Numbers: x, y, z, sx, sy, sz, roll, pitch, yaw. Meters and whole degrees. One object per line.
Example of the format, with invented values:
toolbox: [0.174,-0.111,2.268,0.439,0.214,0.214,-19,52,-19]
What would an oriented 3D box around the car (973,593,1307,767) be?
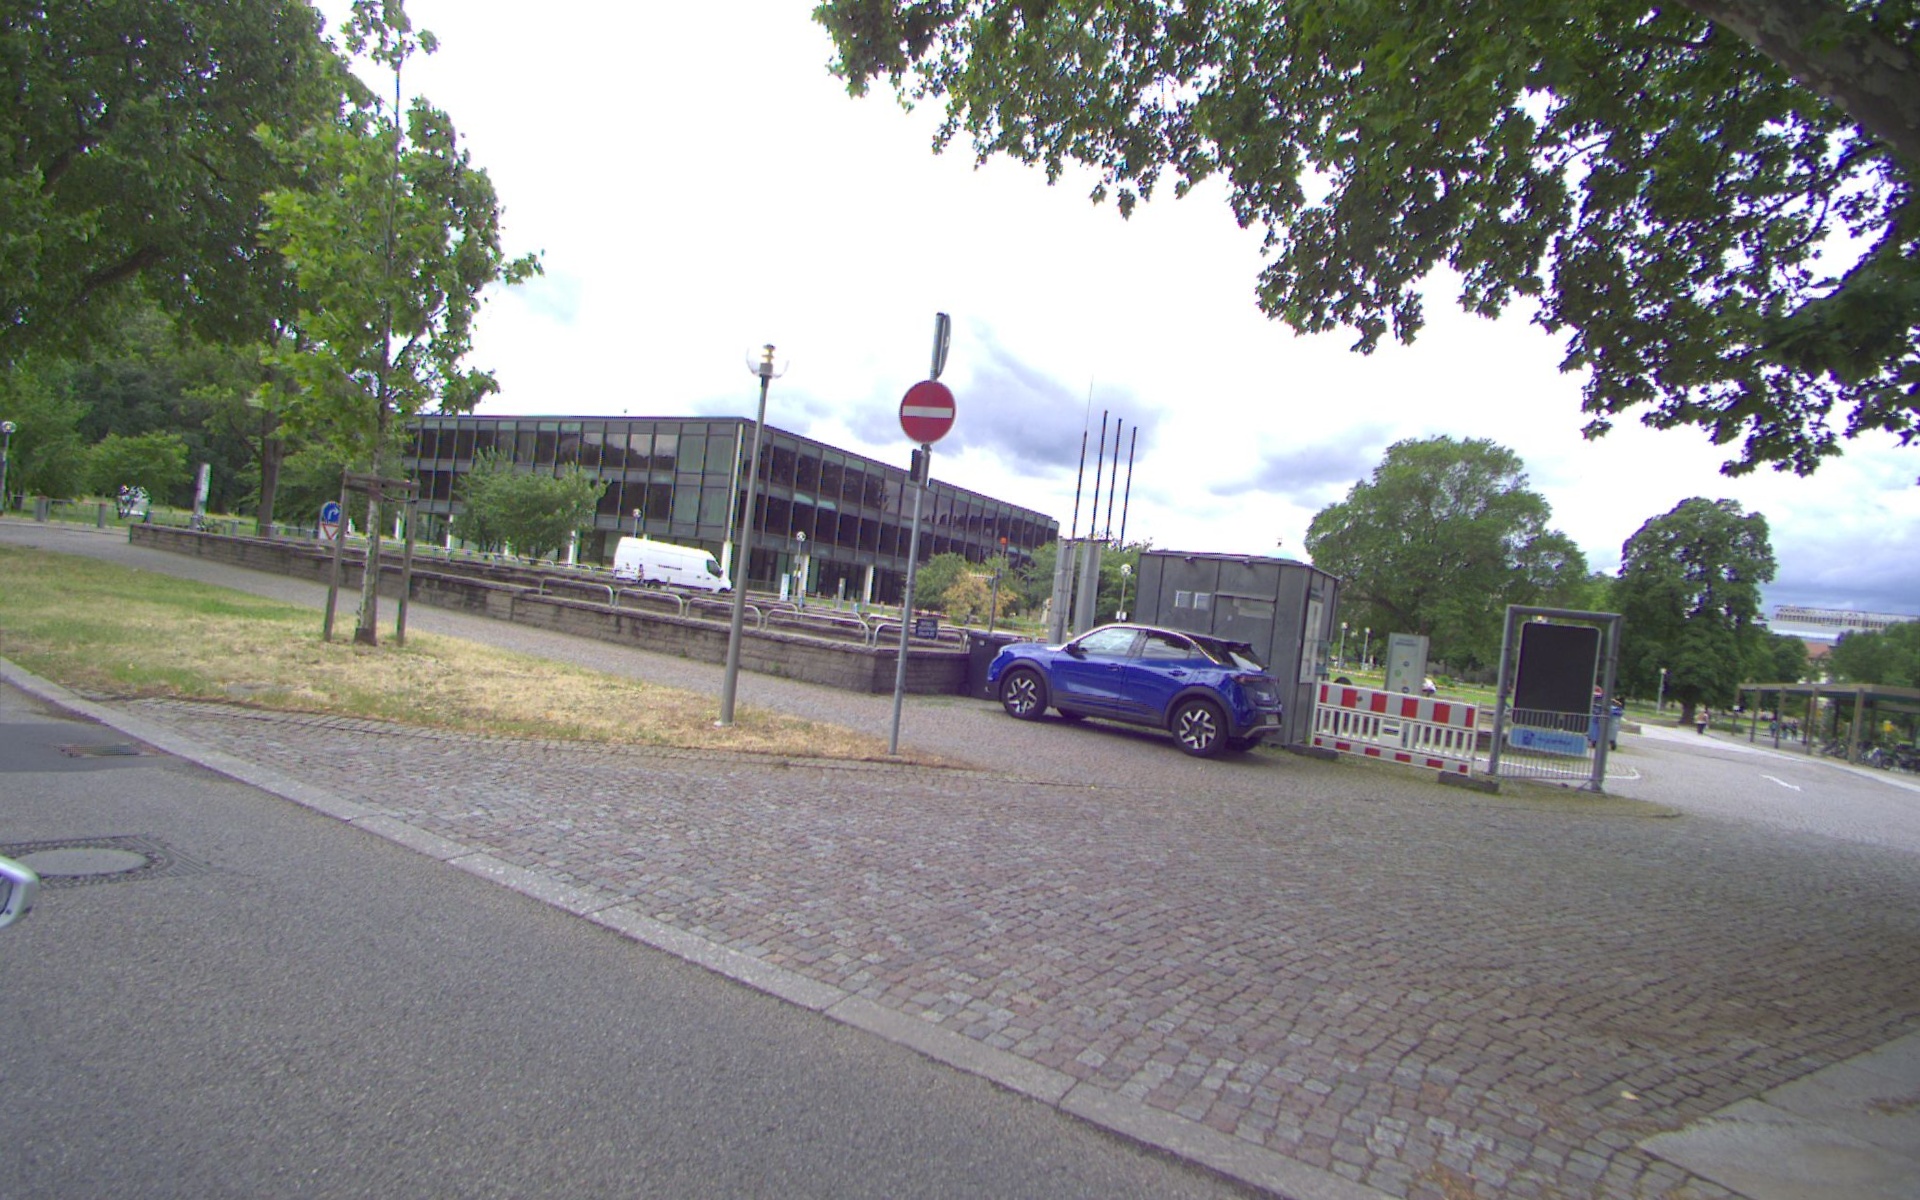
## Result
car: [2.394,1.015,13.753,3.961,1.571,1.761,9,1,34]

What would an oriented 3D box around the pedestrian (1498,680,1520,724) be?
pedestrian: [24.292,4.505,44.519,0.537,1.826,0.500,7,-1,4]

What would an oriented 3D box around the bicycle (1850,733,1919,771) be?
bicycle: [42.459,6.952,45.918,2.536,1.360,0.726,6,-2,32]

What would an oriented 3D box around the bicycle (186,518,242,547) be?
bicycle: [-33.165,-3.023,44.726,2.741,0.986,0.956,6,-3,31]

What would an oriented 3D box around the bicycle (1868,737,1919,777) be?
bicycle: [41.572,6.931,43.736,2.849,1.442,0.961,6,-2,28]

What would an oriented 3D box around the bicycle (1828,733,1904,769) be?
bicycle: [44.227,7.355,49.141,2.536,1.360,0.726,6,-2,32]

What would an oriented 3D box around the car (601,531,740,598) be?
car: [-13.626,-1.625,47.757,2.363,2.288,6.113,7,-1,33]

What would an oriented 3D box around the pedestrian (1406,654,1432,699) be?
pedestrian: [21.728,3.617,47.616,0.799,2.036,0.625,9,-2,-39]

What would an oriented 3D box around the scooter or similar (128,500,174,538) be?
scooter or similar: [-30.663,-3.083,38.110,2.190,1.259,0.636,6,-2,34]

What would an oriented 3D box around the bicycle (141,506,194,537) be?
bicycle: [-34.356,-3.387,43.601,2.297,1.075,0.956,6,-2,31]

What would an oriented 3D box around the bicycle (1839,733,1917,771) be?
bicycle: [43.263,7.138,47.439,2.536,1.360,0.726,6,-2,32]

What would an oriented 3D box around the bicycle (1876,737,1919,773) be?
bicycle: [41.669,6.843,43.705,2.536,1.360,0.726,6,-2,32]

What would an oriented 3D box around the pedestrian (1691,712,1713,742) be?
pedestrian: [49.661,8.504,67.334,0.929,1.826,0.546,7,-1,4]

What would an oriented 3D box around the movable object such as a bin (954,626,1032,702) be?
movable object such as a bin: [0.547,1.053,16.484,0.757,1.078,1.009,10,2,29]

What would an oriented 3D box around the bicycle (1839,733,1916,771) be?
bicycle: [43.917,7.264,48.175,2.536,1.360,0.726,6,-2,32]

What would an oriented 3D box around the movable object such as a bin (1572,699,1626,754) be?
movable object such as a bin: [17.949,3.532,28.247,1.134,1.319,1.410,7,0,34]

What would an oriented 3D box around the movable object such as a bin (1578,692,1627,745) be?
movable object such as a bin: [20.510,3.761,32.109,1.134,1.515,1.410,7,0,34]

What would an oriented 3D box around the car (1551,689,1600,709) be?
car: [74.691,12.020,122.117,4.835,1.758,2.075,6,-3,35]
